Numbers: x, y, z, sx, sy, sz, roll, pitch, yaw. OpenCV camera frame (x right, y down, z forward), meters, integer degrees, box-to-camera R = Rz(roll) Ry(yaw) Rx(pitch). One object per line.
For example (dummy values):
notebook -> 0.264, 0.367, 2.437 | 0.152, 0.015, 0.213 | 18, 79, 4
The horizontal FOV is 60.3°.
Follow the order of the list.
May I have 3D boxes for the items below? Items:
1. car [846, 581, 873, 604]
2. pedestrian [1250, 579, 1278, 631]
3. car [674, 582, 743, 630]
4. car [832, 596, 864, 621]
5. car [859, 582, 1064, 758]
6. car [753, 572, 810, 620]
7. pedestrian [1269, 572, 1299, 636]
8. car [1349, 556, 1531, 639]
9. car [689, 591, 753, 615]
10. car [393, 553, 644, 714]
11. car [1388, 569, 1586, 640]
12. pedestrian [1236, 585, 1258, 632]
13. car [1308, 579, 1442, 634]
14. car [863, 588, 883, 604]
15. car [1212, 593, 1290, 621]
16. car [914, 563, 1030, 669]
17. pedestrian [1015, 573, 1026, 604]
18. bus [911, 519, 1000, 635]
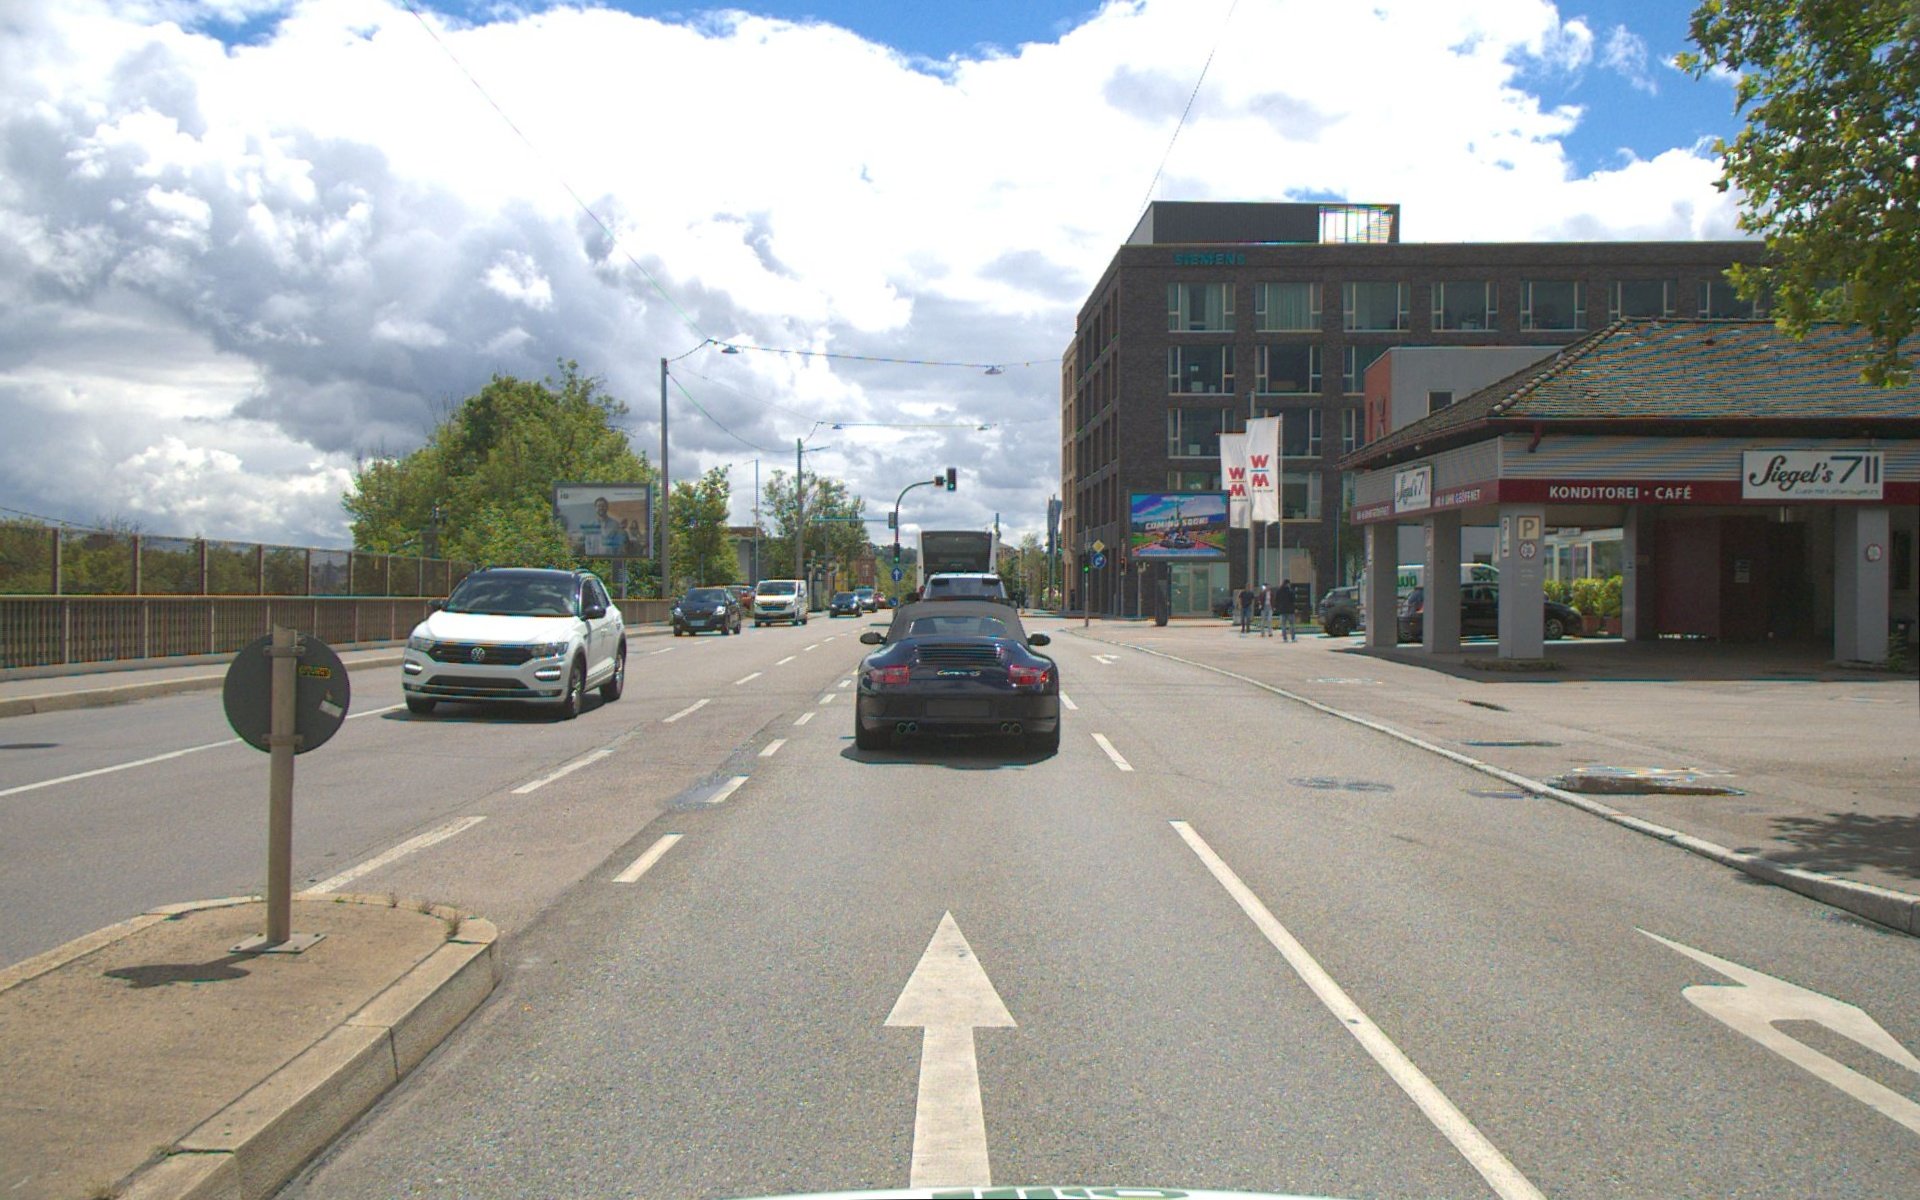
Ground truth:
car -> -7.048, -0.510, 116.469 | 1.628, 1.574, 3.802 | 0, 0, 0
pedestrian -> 10.079, 0.163, 54.833 | 0.693, 1.726, 0.924 | 1, 0, -4
car -> -7.814, 0.174, 51.658 | 1.595, 1.455, 3.999 | 0, 0, -1
car -> -6.544, 0.489, 96.785 | 1.628, 1.440, 3.802 | 0, 0, 0
car -> -0.016, 0.566, 15.847 | 1.685, 1.297, 4.088 | 1, 2, -1
car -> -7.634, -0.164, 71.086 | 1.863, 1.920, 5.312 | -2, 0, -1
pedestrian -> 8.900, 0.109, 45.400 | 0.666, 1.726, 0.598 | 1, 0, 25
car -> 12.578, -0.073, 43.545 | 4.144, 1.970, 2.029 | -2, 0, 0
car -> -13.183, 0.168, 91.120 | 3.448, 1.286, 1.387 | 0, 0, -10
car -> -4.837, 0.324, 18.720 | 1.773, 1.587, 4.206 | 1, 0, -1
car -> 12.861, 0.121, 40.514 | 4.212, 1.539, 1.846 | -2, -1, 0
pedestrian -> 10.301, 0.306, 59.355 | 0.657, 1.690, 0.742 | 0, 0, -2
car -> 12.924, 0.191, 51.622 | 3.682, 1.465, 1.719 | -3, 0, 0
car -> -7.981, -0.399, 151.709 | 1.628, 1.440, 3.802 | 0, 0, 0
car -> 15.200, 0.350, 86.469 | 3.849, 1.456, 1.474 | 0, 0, -1
car -> 0.139, 0.216, 29.622 | 1.842, 1.621, 4.229 | 2, 2, -2
pedestrian -> 4.018, -0.775, 110.237 | 0.653, 2.049, 0.769 | 0, 0, -2
bus -> -0.090, -0.986, 56.838 | 2.634, 3.311, 12.062 | 2, 4, 0
